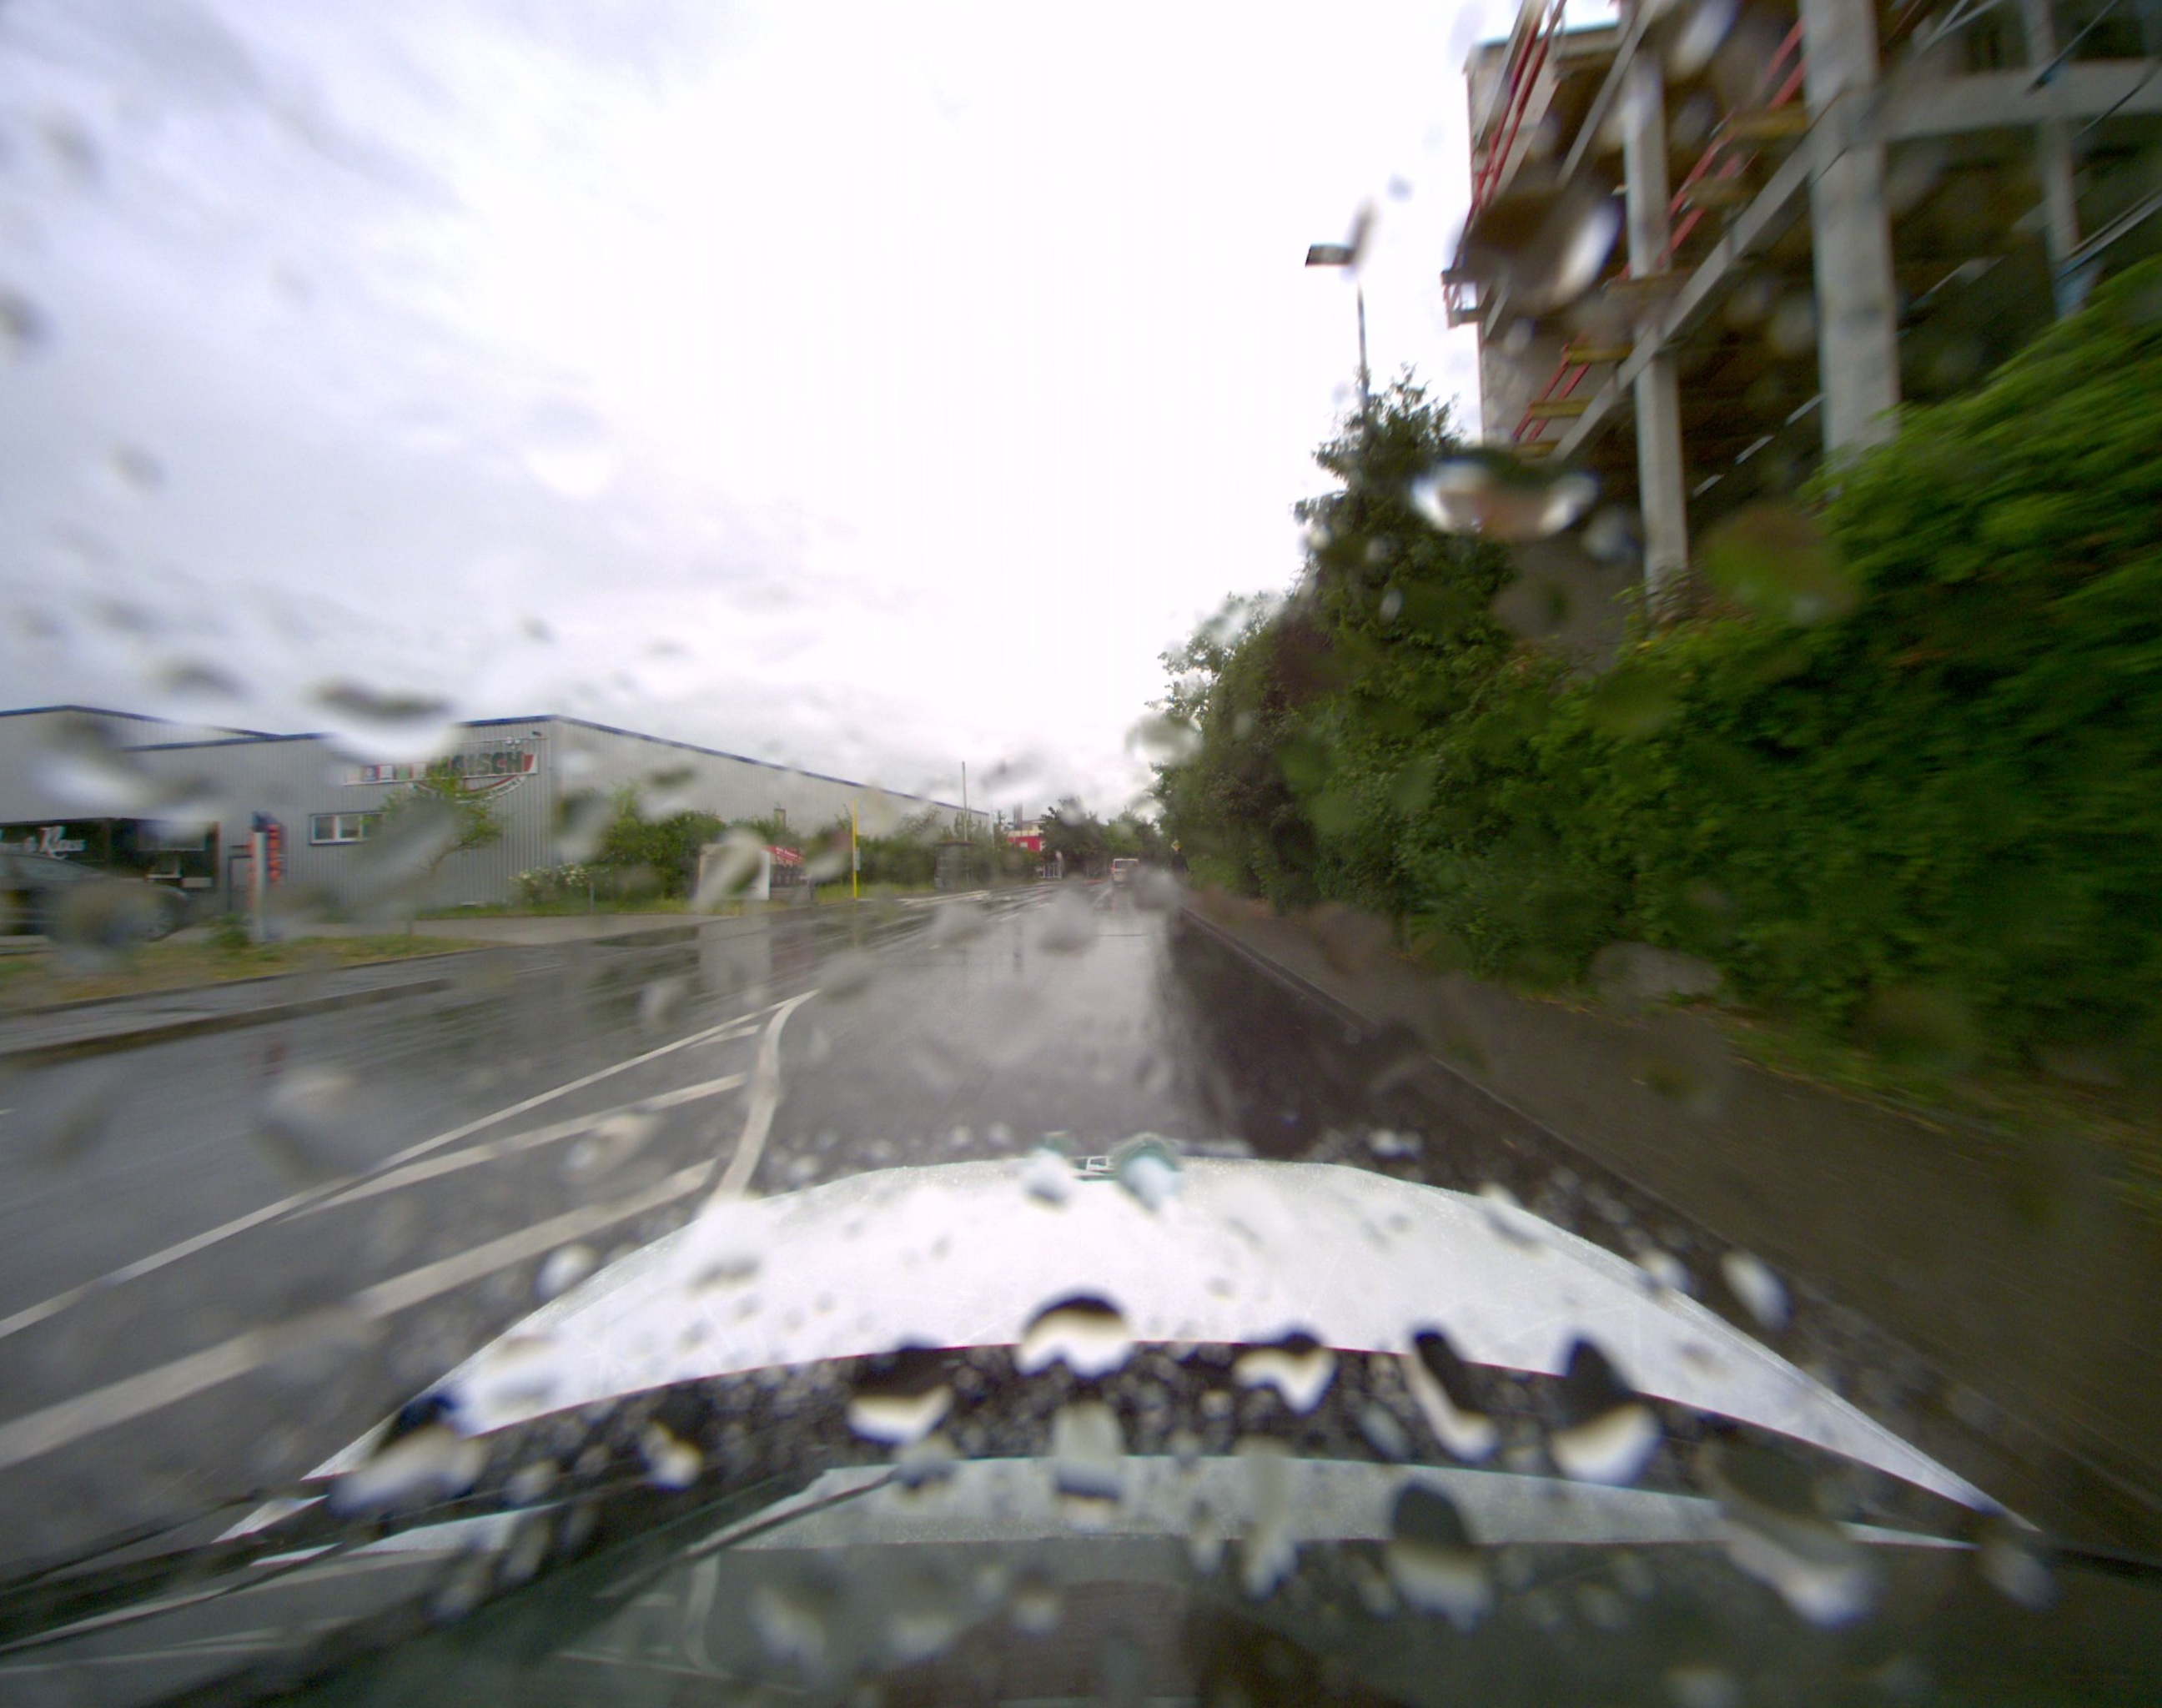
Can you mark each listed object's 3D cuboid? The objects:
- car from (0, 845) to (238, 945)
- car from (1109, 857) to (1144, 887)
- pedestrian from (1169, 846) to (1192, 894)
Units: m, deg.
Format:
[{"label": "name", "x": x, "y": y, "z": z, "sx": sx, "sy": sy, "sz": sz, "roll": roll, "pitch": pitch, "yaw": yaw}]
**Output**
[{"label": "car", "x": -18.110, "y": 0.666, "z": 14.128, "sx": 1.842, "sy": 1.596, "sz": 4.616, "roll": -1, "pitch": 0, "yaw": 8}, {"label": "car", "x": 2.958, "y": 1.132, "z": 52.569, "sx": 2.107, "sy": 1.888, "sz": 4.508, "roll": 0, "pitch": -1, "yaw": 5}, {"label": "pedestrian", "x": 3.899, "y": 0.613, "z": 31.976, "sx": 0.742, "sy": 1.838, "sz": 0.890, "roll": -2, "pitch": -1, "yaw": 2}]
